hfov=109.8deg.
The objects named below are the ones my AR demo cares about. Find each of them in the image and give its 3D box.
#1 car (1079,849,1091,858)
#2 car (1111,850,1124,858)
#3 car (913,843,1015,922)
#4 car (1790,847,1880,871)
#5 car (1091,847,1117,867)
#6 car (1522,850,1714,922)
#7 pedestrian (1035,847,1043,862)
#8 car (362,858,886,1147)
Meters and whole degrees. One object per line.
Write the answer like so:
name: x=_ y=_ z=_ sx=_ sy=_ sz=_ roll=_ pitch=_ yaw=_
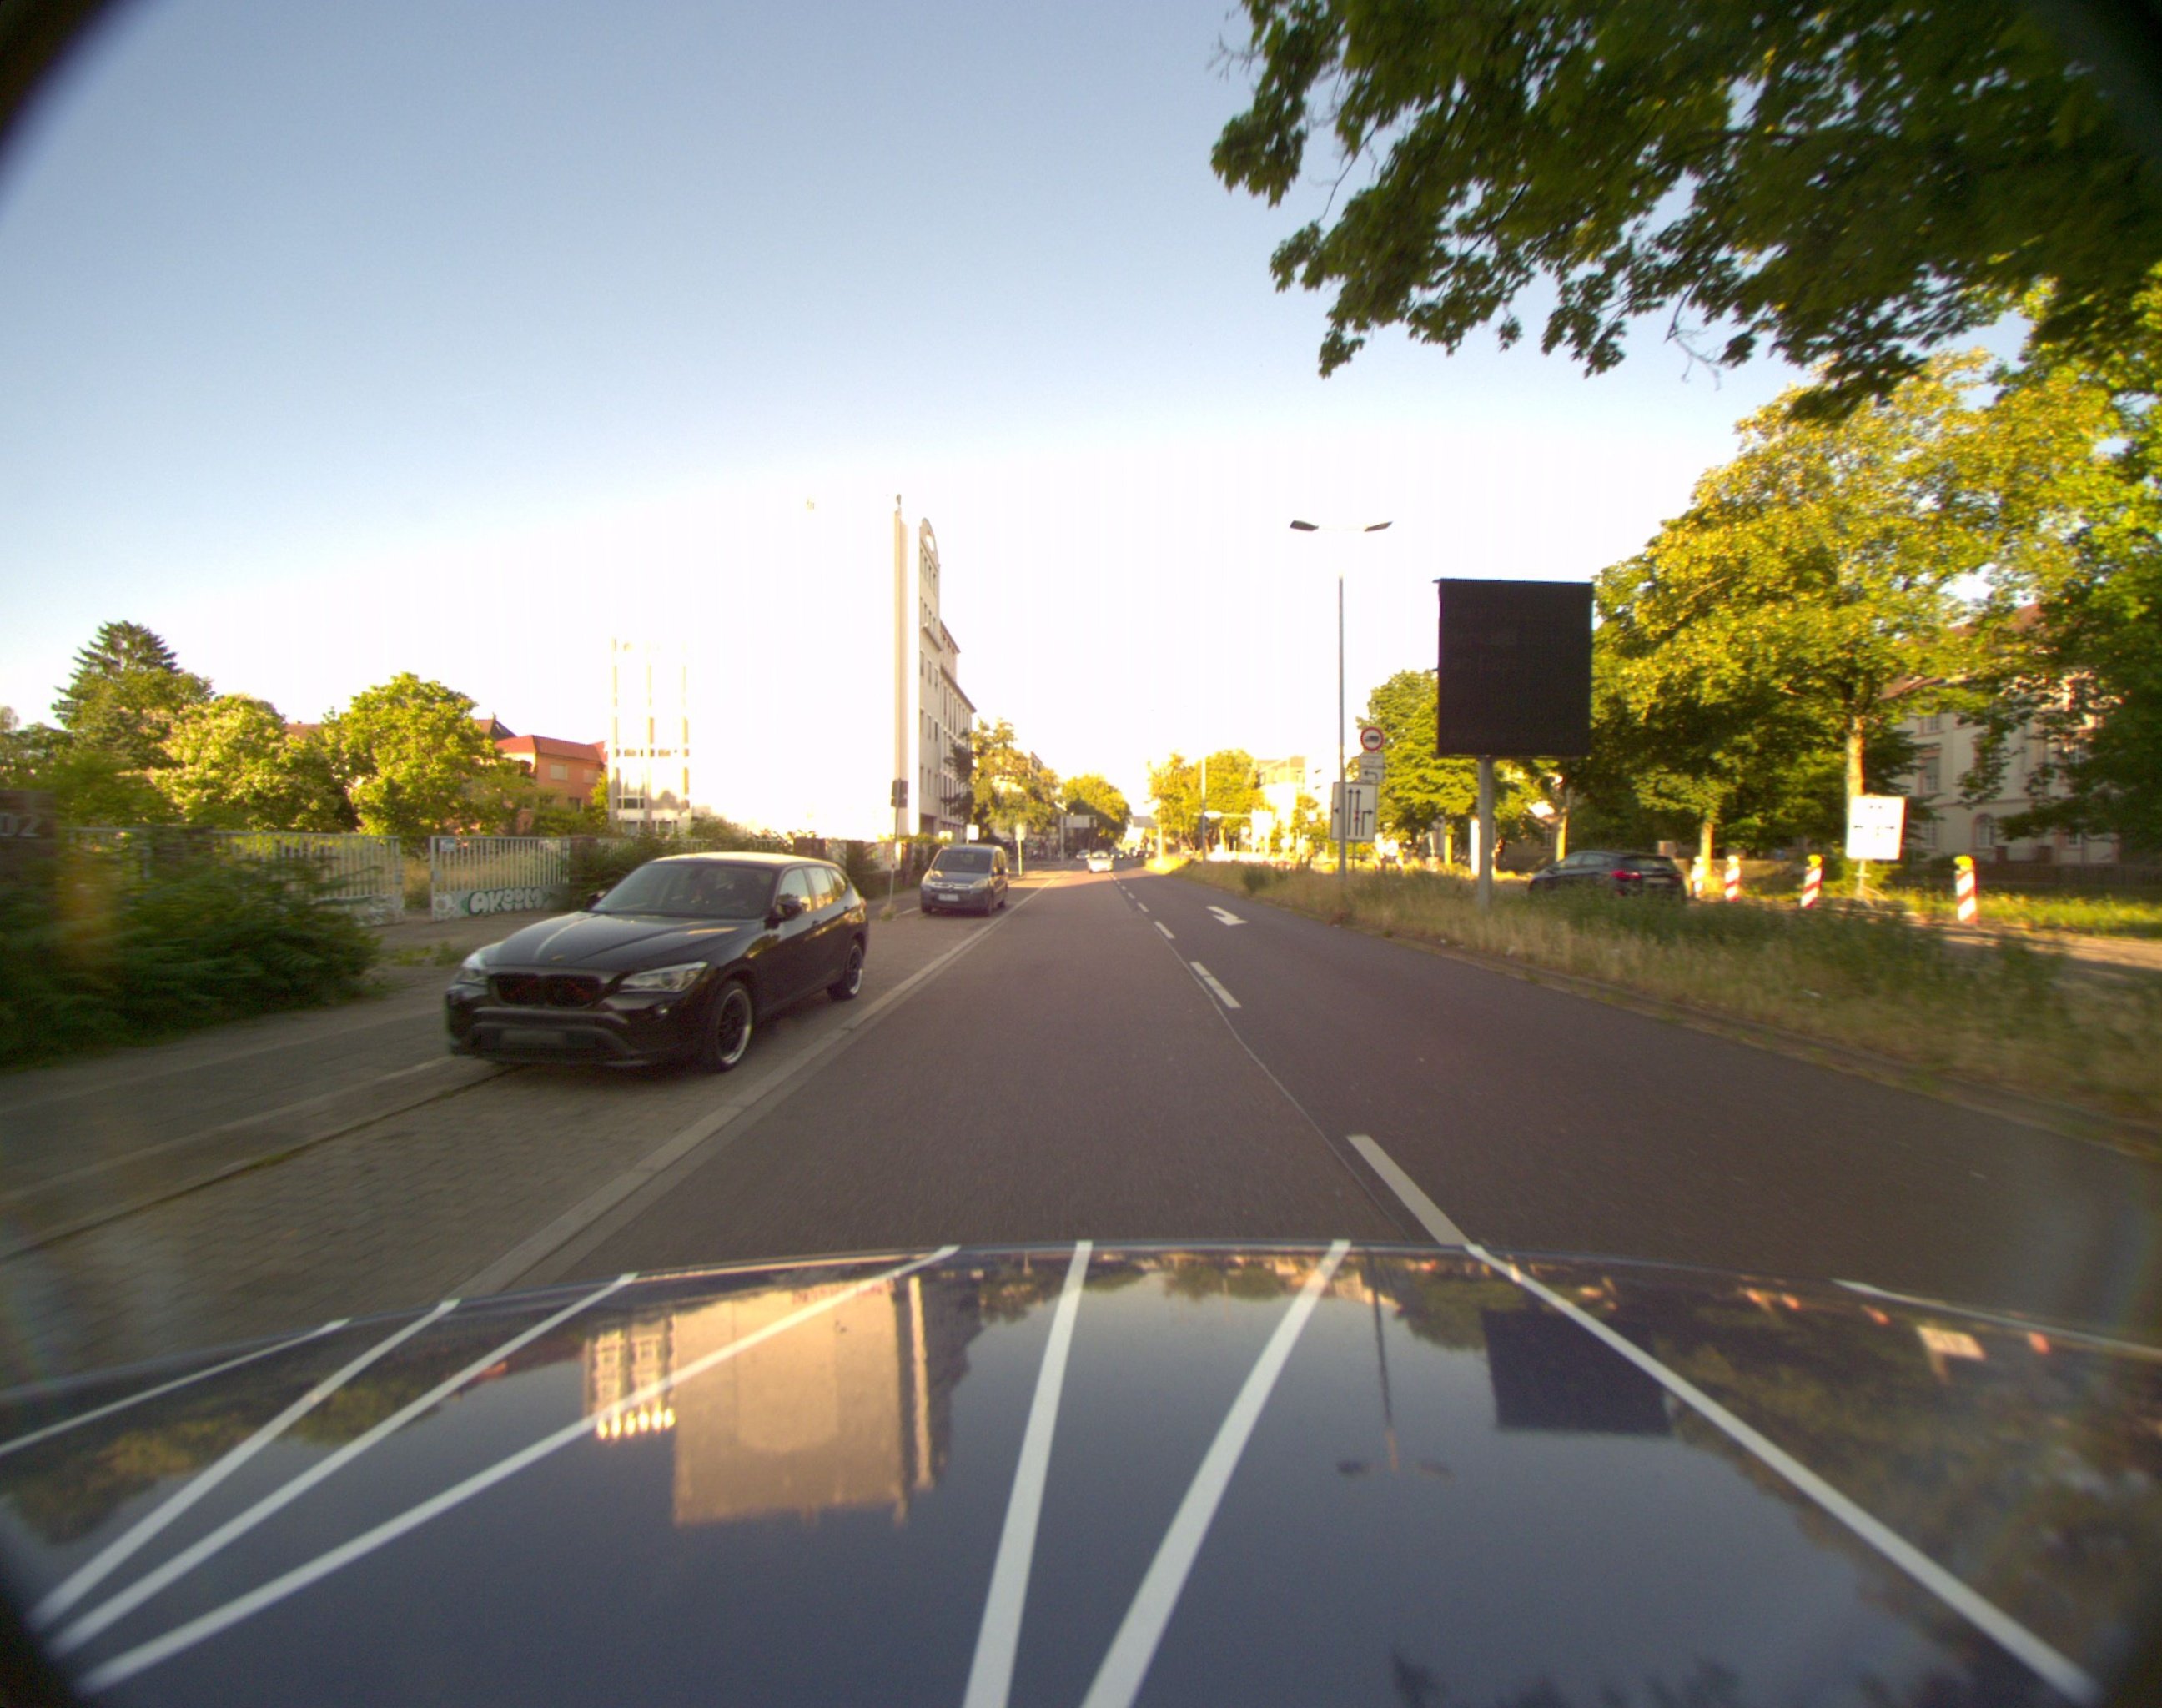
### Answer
car: x=0.743 y=-0.115 z=127.717 sx=1.947 sy=1.514 sz=4.163 roll=0 pitch=0 yaw=1
car: x=6.137 y=-0.013 z=127.032 sx=1.947 sy=1.259 sz=4.163 roll=0 pitch=0 yaw=1
car: x=-2.987 y=0.658 z=20.357 sx=1.778 sy=1.818 sz=4.555 roll=2 pitch=1 yaw=2
car: x=46.638 y=0.267 z=47.110 sx=1.698 sy=1.368 sz=4.000 roll=-2 pitch=1 yaw=2
car: x=1.790 y=0.228 z=59.295 sx=1.895 sy=1.455 sz=3.966 roll=0 pitch=0 yaw=1
car: x=12.549 y=0.666 z=18.116 sx=1.778 sy=1.409 sz=4.008 roll=3 pitch=1 yaw=2
pedestrian: x=-5.285 y=0.026 z=95.340 sx=0.720 sy=1.835 sz=0.749 roll=1 pitch=1 yaw=17
car: x=-3.299 y=0.890 z=6.744 sx=1.778 sy=1.565 sz=4.499 roll=3 pitch=1 yaw=2
